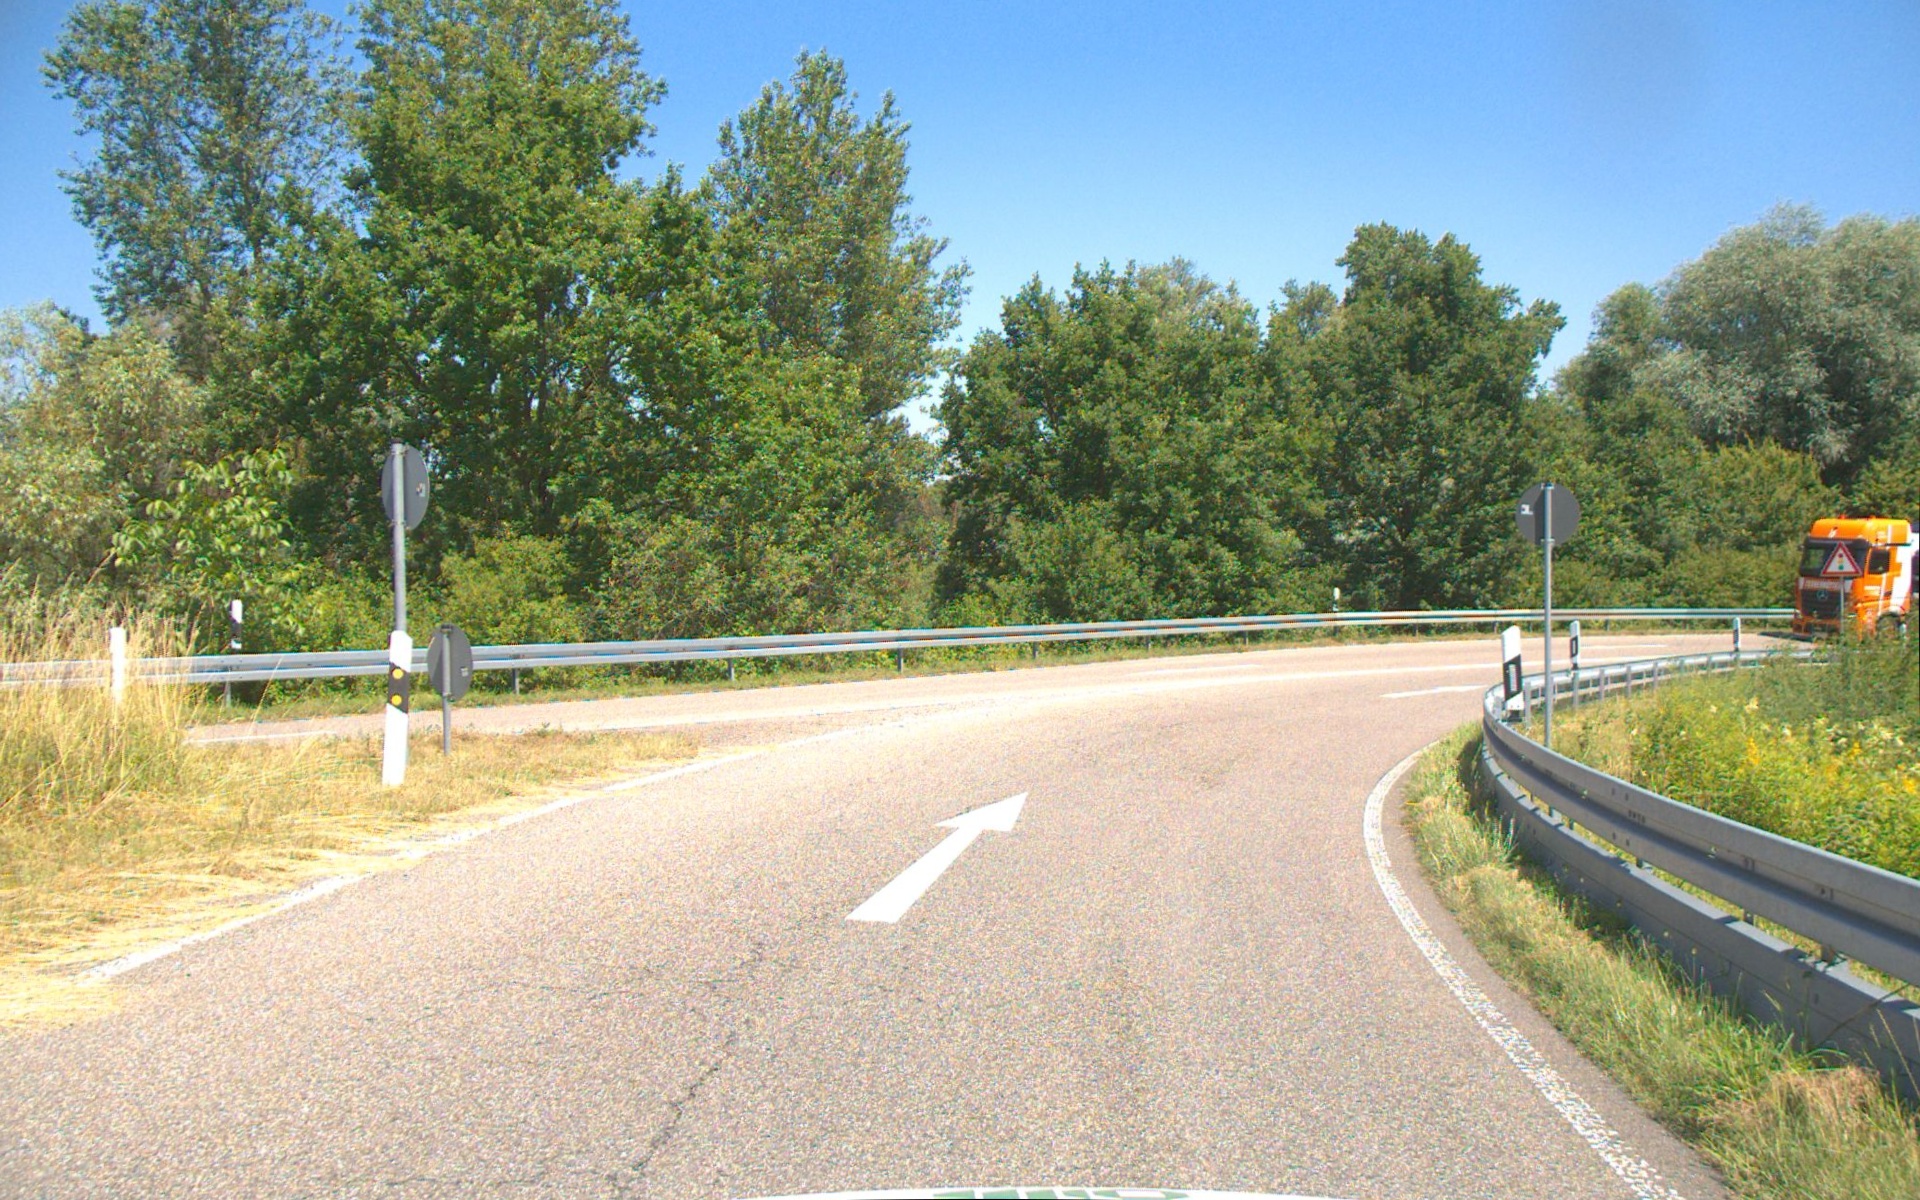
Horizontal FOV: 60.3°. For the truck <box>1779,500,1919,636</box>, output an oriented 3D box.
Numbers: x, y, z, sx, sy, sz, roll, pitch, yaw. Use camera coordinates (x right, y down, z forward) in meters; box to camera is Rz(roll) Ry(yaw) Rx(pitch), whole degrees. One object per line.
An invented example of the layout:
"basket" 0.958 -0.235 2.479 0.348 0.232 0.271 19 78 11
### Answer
"truck" 30.221 -0.929 51.895 8.621 3.965 2.784 2 2 -20
